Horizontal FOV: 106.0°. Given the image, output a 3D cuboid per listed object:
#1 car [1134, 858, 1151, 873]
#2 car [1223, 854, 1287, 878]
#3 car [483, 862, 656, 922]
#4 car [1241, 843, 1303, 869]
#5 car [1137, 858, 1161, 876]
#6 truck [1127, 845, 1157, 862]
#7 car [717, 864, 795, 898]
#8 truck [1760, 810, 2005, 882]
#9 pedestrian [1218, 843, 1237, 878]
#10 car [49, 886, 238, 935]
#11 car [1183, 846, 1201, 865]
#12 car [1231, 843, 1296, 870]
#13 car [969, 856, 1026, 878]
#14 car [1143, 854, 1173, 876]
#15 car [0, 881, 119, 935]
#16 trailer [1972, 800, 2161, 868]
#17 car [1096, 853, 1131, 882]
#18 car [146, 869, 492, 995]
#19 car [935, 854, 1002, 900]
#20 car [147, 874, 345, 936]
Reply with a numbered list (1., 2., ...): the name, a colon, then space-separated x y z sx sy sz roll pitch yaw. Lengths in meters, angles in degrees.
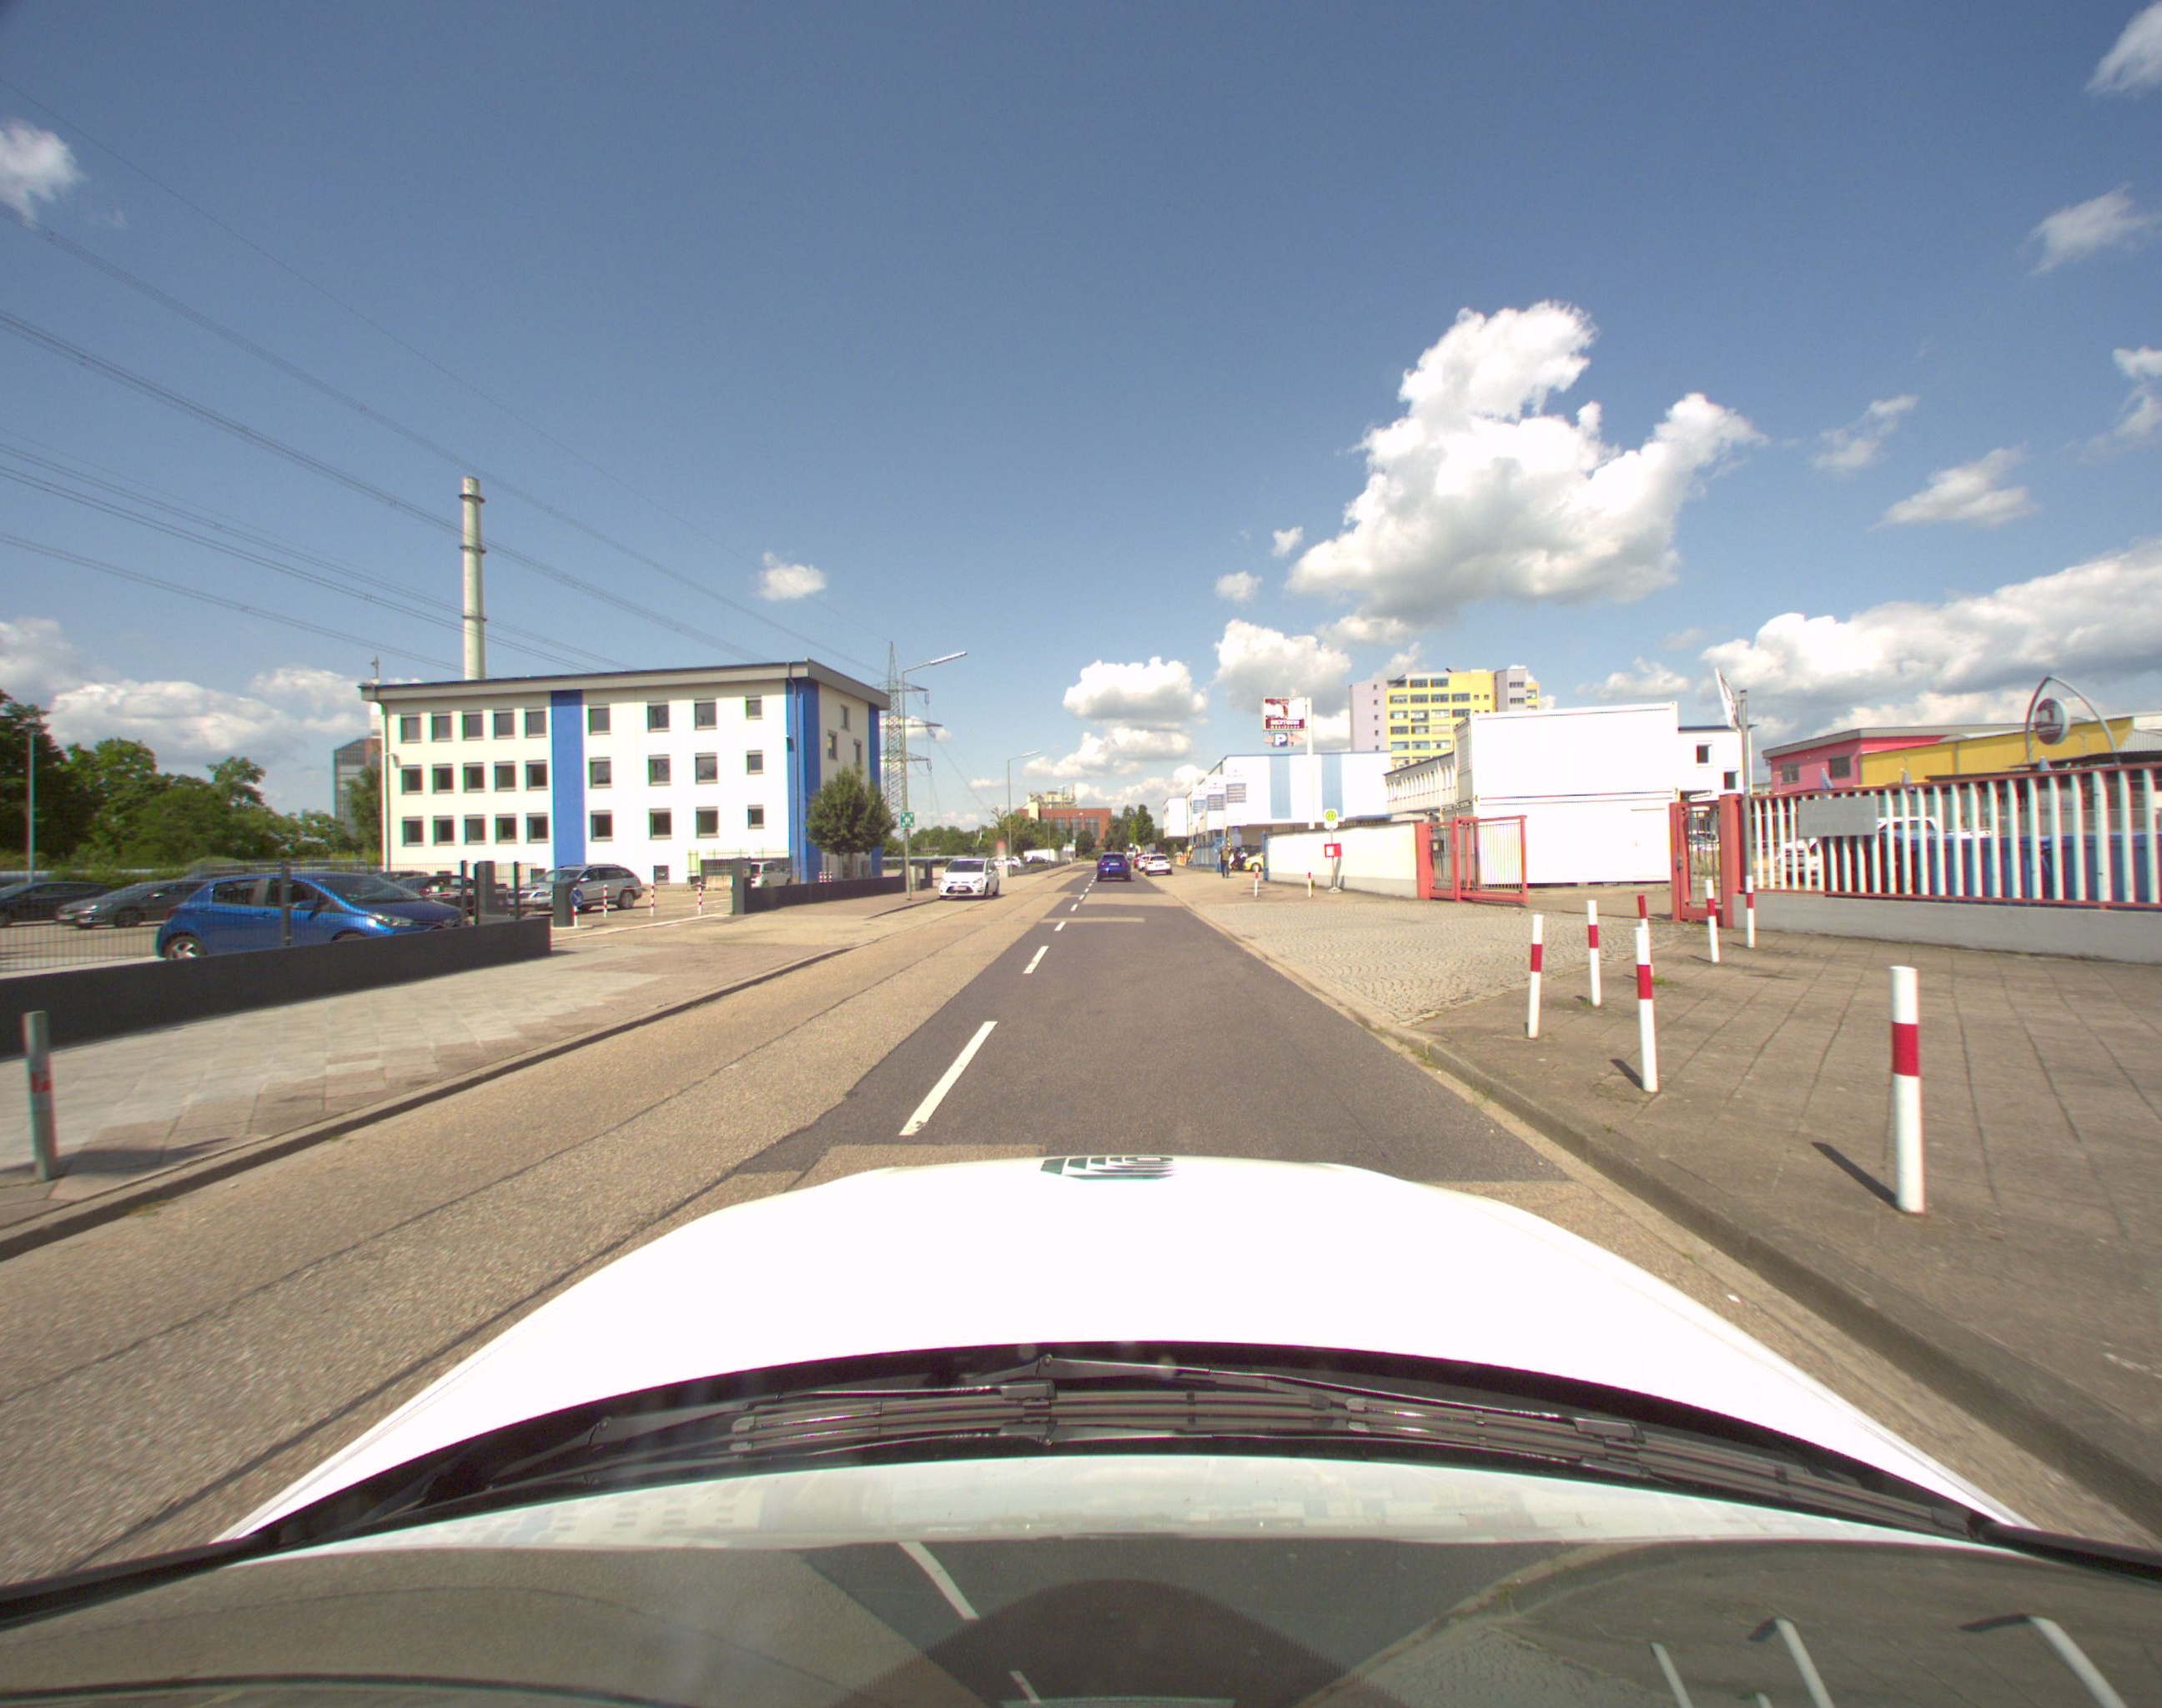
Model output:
1. car: 6.823 1.251 90.541 1.747 1.650 4.682 -1 -1 4
2. car: 11.701 0.813 54.964 3.971 1.420 2.001 -2 0 2
3. car: -16.073 1.134 25.946 1.813 1.636 4.858 -2 -1 10
4. car: 11.688 0.141 49.949 3.391 1.490 1.792 -1 -1 1
5. car: 5.926 1.146 71.624 1.828 1.520 4.463 -1 0 2
6. truck: 13.234 -0.104 176.720 2.299 3.567 9.427 0 1 33
7. car: -15.878 1.279 39.998 1.862 1.507 3.767 -2 -1 8
8. truck: 22.561 -0.219 23.039 5.181 1.744 1.997 -2 0 -4
9. pedestrian: 7.517 0.340 41.841 0.766 1.756 0.787 -3 -1 1
10. car: -30.653 1.799 26.805 1.526 1.322 3.774 -2 0 13
11. car: 14.708 0.183 107.900 1.916 2.464 5.262 -1 -1 2
12. car: 11.720 0.166 52.392 3.792 1.680 1.792 -1 -1 1
13. car: -7.249 1.134 71.139 4.742 1.602 1.999 -3 0 -2
14. car: 5.506 0.804 58.967 1.860 1.520 4.599 -1 0 2
15. car: -35.865 1.822 27.752 1.645 1.617 3.992 -2 0 -6
16. trailer: 28.883 -0.571 23.331 4.726 1.744 1.997 -2 0 -4
17. car: 1.865 0.766 47.286 1.902 1.593 4.703 -1 0 2
18. car: -11.762 1.149 12.779 3.634 1.708 1.879 -2 -1 1
19. car: -4.413 0.870 32.585 1.860 1.708 4.754 0 0 2
20. car: -26.464 1.547 26.028 1.863 1.708 4.075 -2 -1 7
